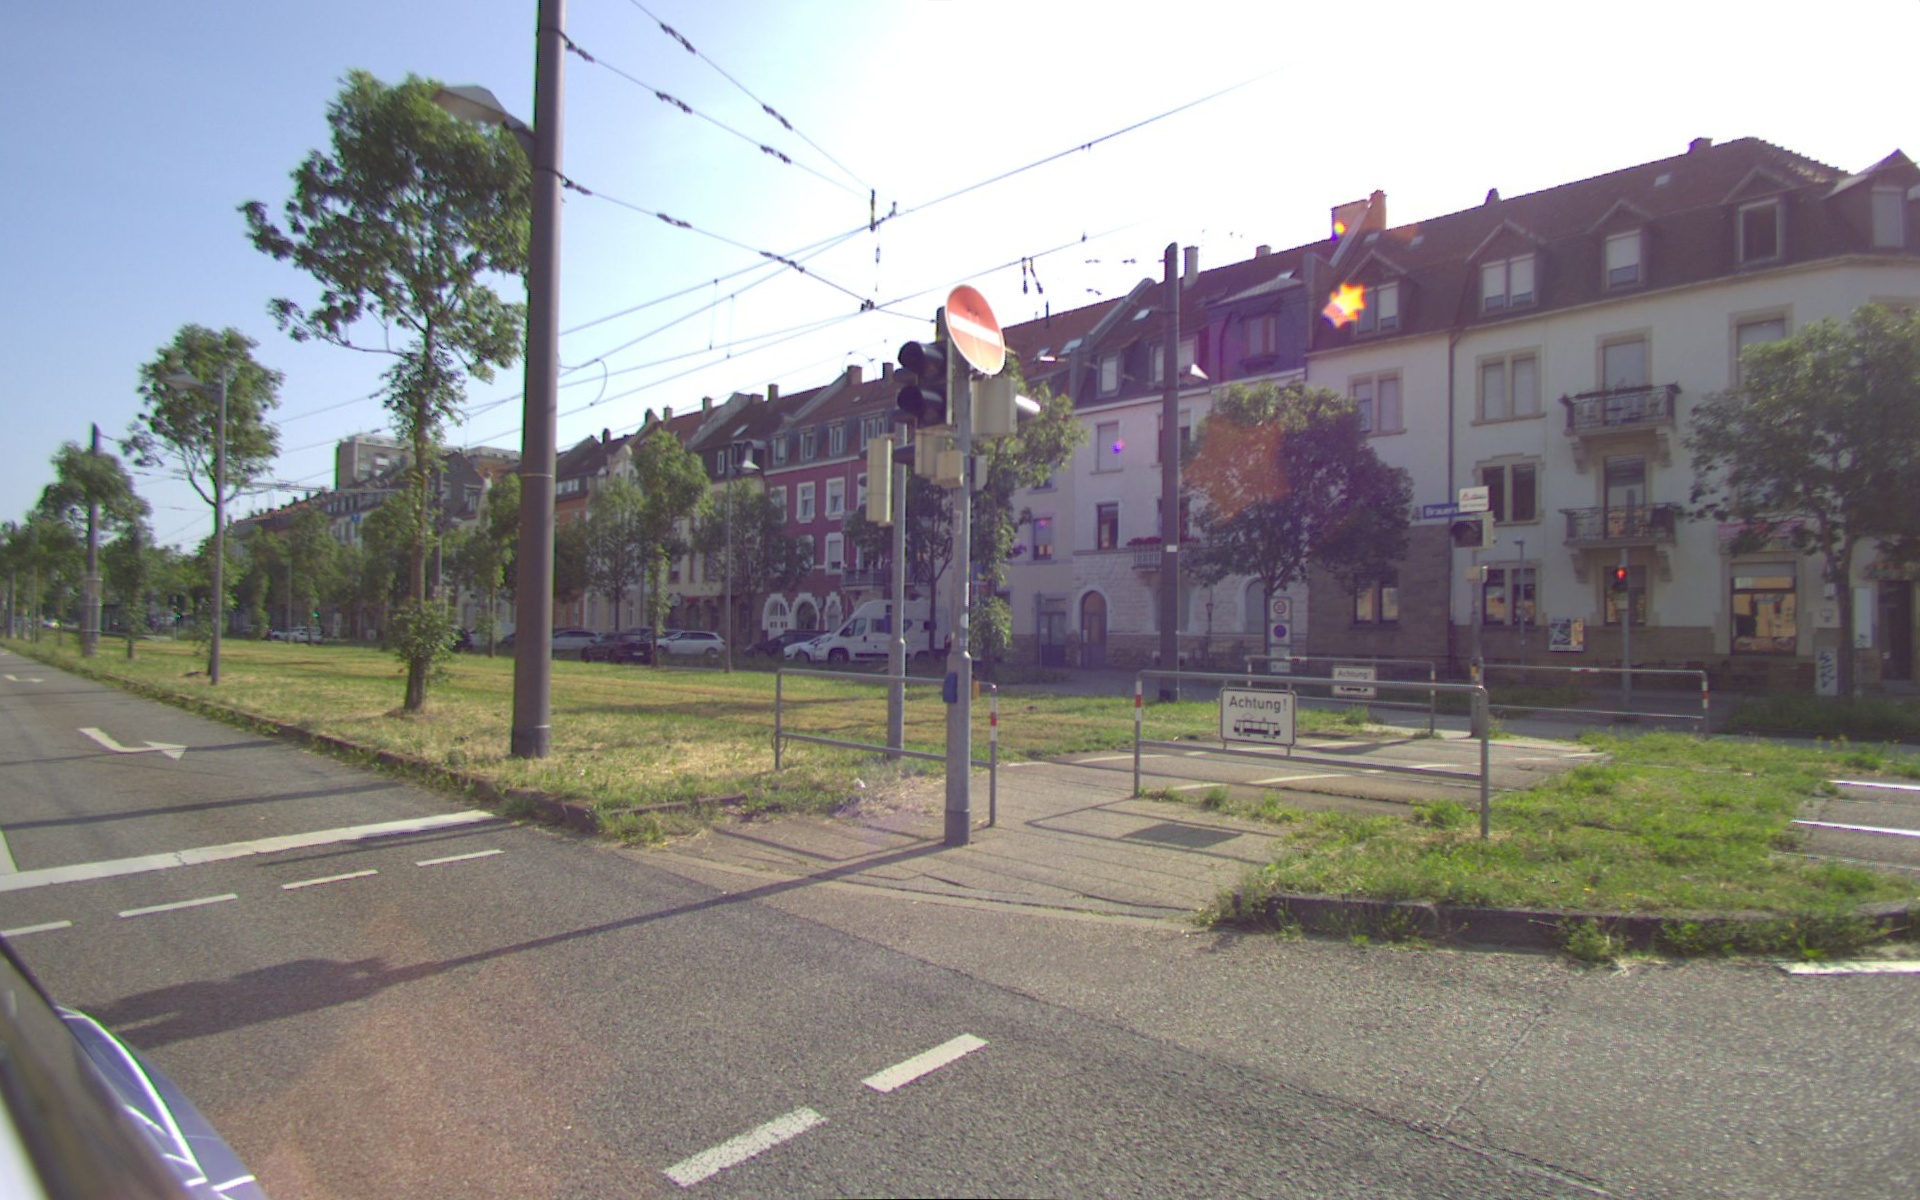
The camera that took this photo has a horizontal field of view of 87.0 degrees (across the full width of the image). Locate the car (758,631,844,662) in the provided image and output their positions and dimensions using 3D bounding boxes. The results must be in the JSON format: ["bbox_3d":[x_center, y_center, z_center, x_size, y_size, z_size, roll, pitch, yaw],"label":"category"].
[{"bbox_3d":[-7.175,2.087,45.586,3.625,1.251,1.667,-1,0,-15],"label":"car"}]

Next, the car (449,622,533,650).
[{"bbox_3d":[-31.763,2.427,68.619,4.871,1.739,1.861,-1,0,-11],"label":"car"}]

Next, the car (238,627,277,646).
[{"bbox_3d":[-64.637,3.315,93.093,5.381,1.642,1.971,-1,0,44],"label":"car"}]

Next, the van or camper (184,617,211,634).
[{"bbox_3d":[-97.145,3.215,128.906,5.354,2.113,1.930,-1,0,44],"label":"van or camper"}]

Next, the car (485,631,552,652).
[{"bbox_3d":[-27.802,2.620,63.768,3.626,1.251,1.529,-1,-3,-12],"label":"car"}]

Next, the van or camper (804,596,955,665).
[{"bbox_3d":[-3.295,1.189,41.080,5.829,2.593,2.204,-1,0,-11],"label":"van or camper"}]

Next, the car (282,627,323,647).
[{"bbox_3d":[-52.747,2.939,81.204,1.925,1.470,4.652,-1,0,-44],"label":"car"}]

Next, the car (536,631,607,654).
[{"bbox_3d":[-22.621,2.467,59.039,3.626,1.251,1.666,-1,0,-11],"label":"car"}]

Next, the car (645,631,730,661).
[{"bbox_3d":[-13.398,2.242,49.930,3.949,1.326,1.666,-1,0,-11],"label":"car"}]

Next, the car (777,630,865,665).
[{"bbox_3d":[-5.984,2.014,43.458,3.626,1.341,1.666,-1,0,-11],"label":"car"}]

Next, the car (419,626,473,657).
[{"bbox_3d":[-29.815,2.372,58.618,1.743,1.668,4.004,-1,0,-43],"label":"car"}]

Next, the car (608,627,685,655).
[{"bbox_3d":[-15.999,2.083,51.801,3.626,1.251,1.666,-1,0,-11],"label":"car"}]

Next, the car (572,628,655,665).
[{"bbox_3d":[-15.131,1.980,44.088,3.926,1.444,1.792,-1,0,43],"label":"car"}]

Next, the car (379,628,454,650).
[{"bbox_3d":[-41.571,2.971,77.482,4.698,1.496,2.028,-1,0,-14],"label":"car"}]

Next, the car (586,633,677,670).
[{"bbox_3d":[-17.687,2.746,54.506,4.568,1.756,1.840,-1,0,-21],"label":"car"}]

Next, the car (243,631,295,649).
[{"bbox_3d":[-70.096,4.062,102.694,3.934,1.739,2.005,-1,0,-11],"label":"car"}]
